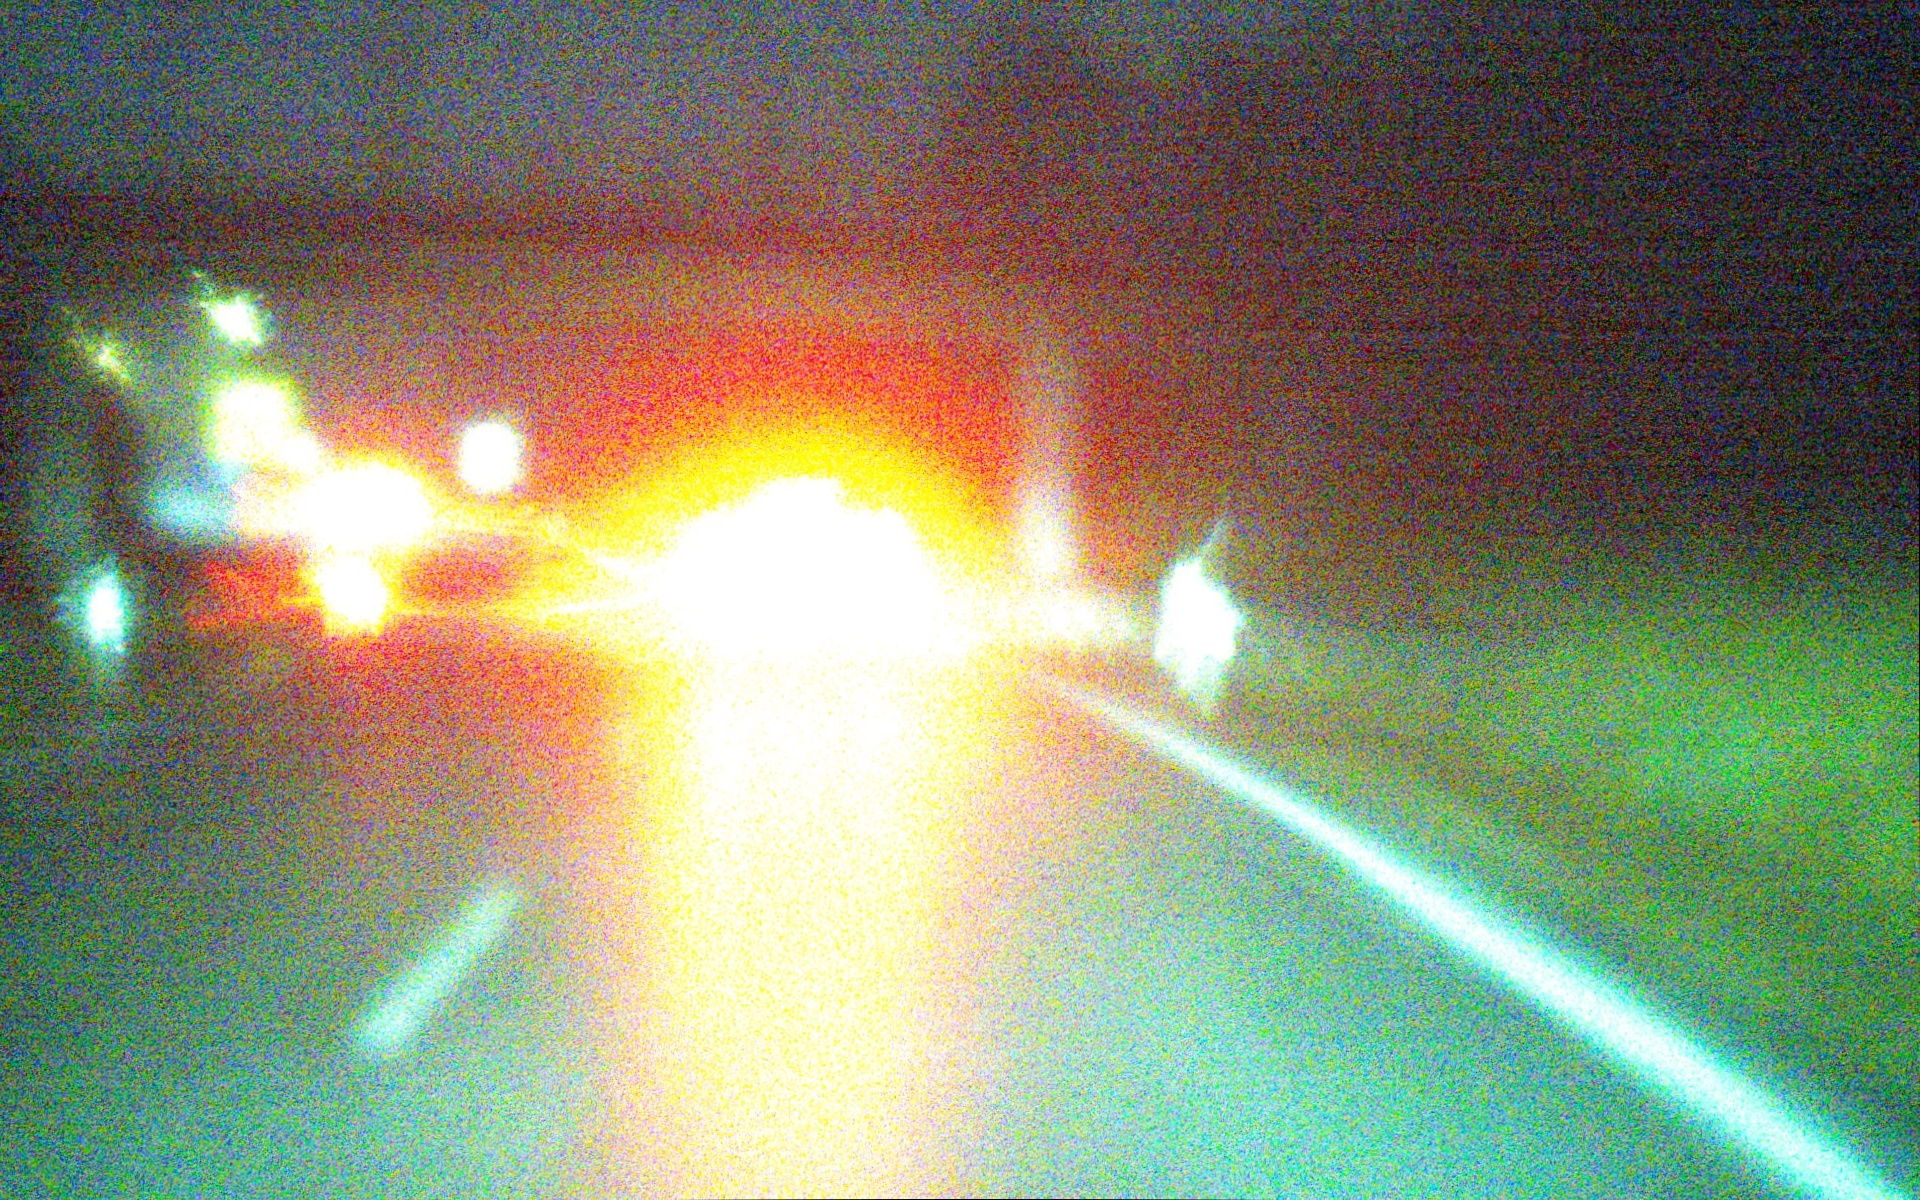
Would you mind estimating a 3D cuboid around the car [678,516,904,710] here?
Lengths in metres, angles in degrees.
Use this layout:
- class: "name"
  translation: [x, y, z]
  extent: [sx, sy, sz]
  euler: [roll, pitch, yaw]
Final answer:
- class: "car"
  translation: [-1.675, 0.057, 33.208]
  extent: [1.993, 1.622, 4.986]
  euler: [1, 2, -4]
